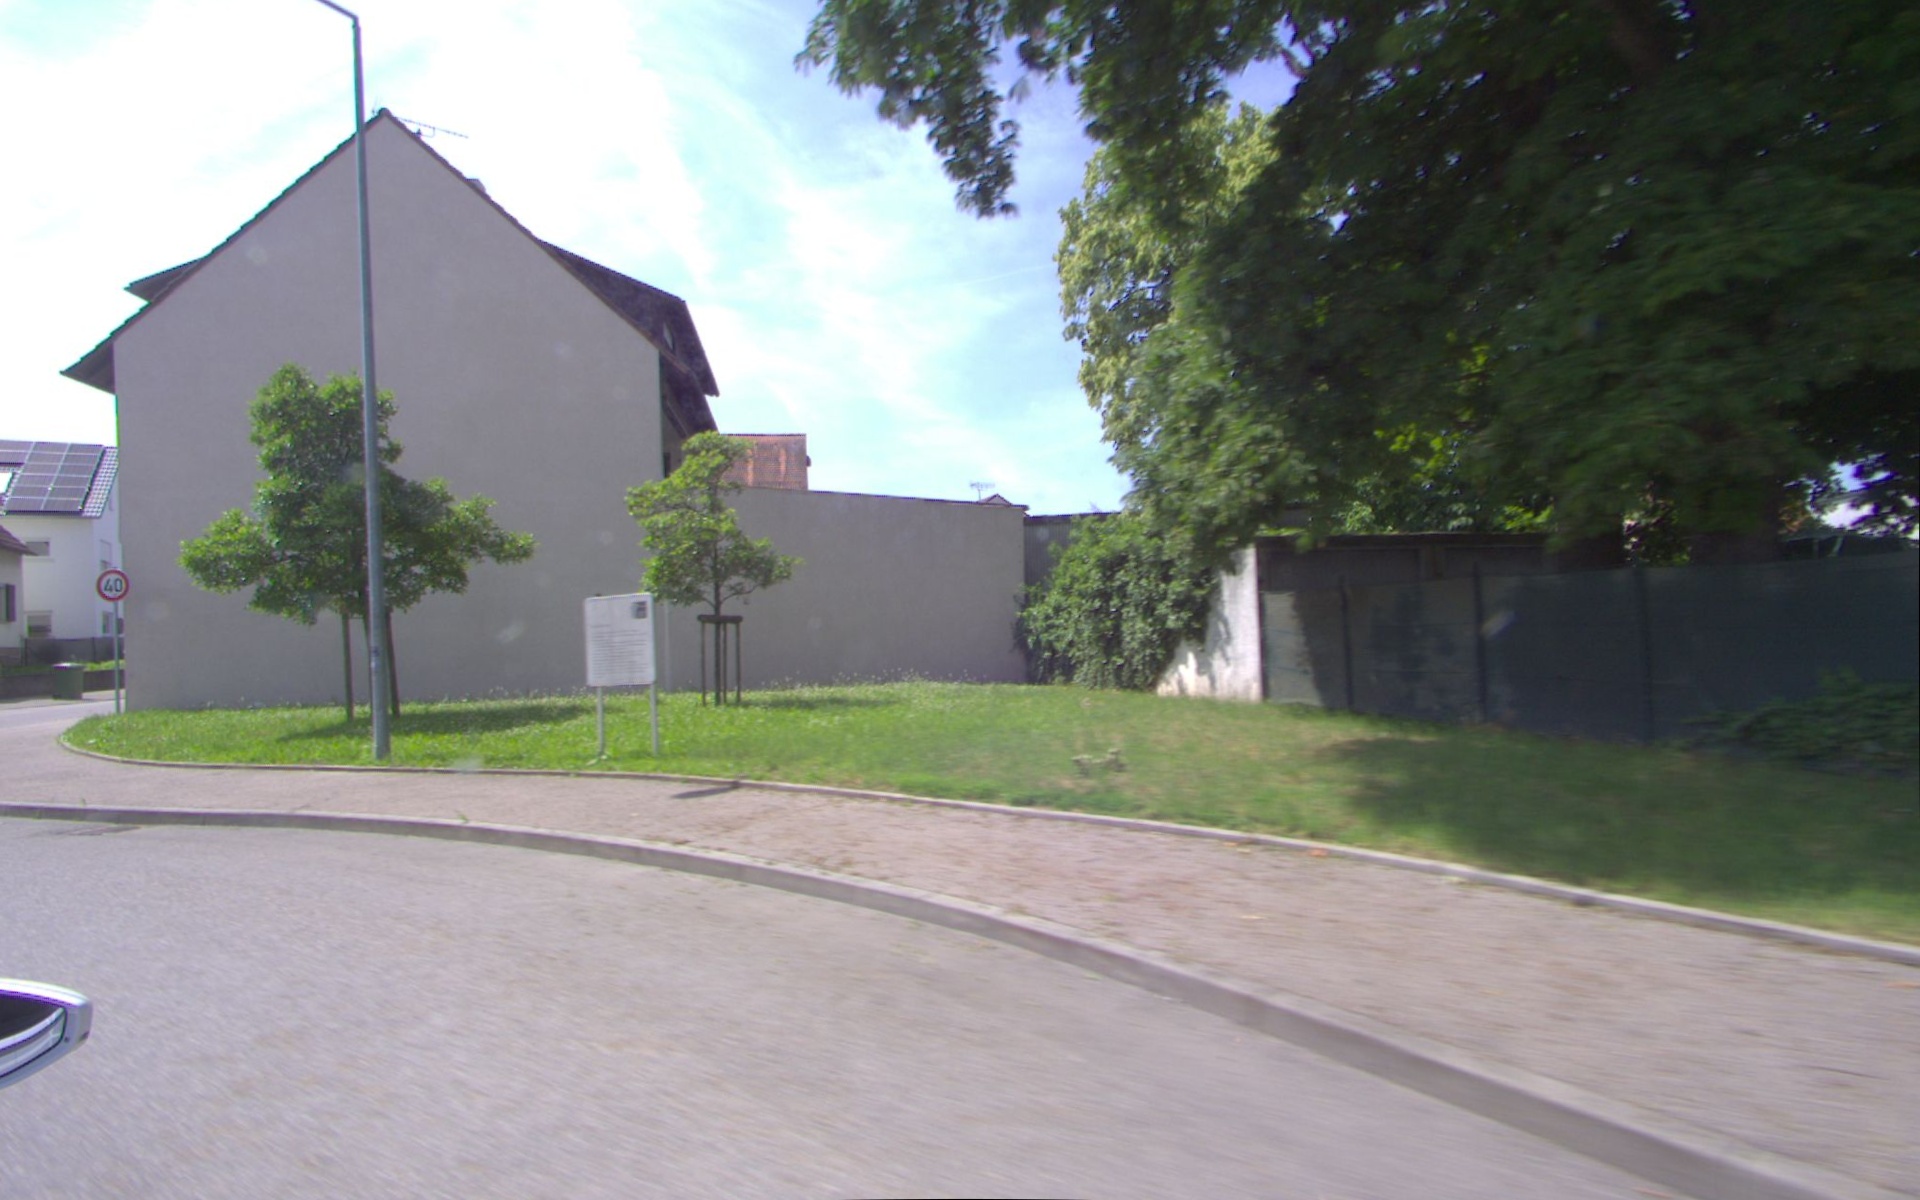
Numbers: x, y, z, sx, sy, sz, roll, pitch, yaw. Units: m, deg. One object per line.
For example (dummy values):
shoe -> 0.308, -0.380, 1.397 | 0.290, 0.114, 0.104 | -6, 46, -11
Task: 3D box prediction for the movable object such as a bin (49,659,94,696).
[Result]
movable object such as a bin -> -27.058, 2.351, 30.512 | 0.779, 1.071, 0.650 | -1, -1, -14
